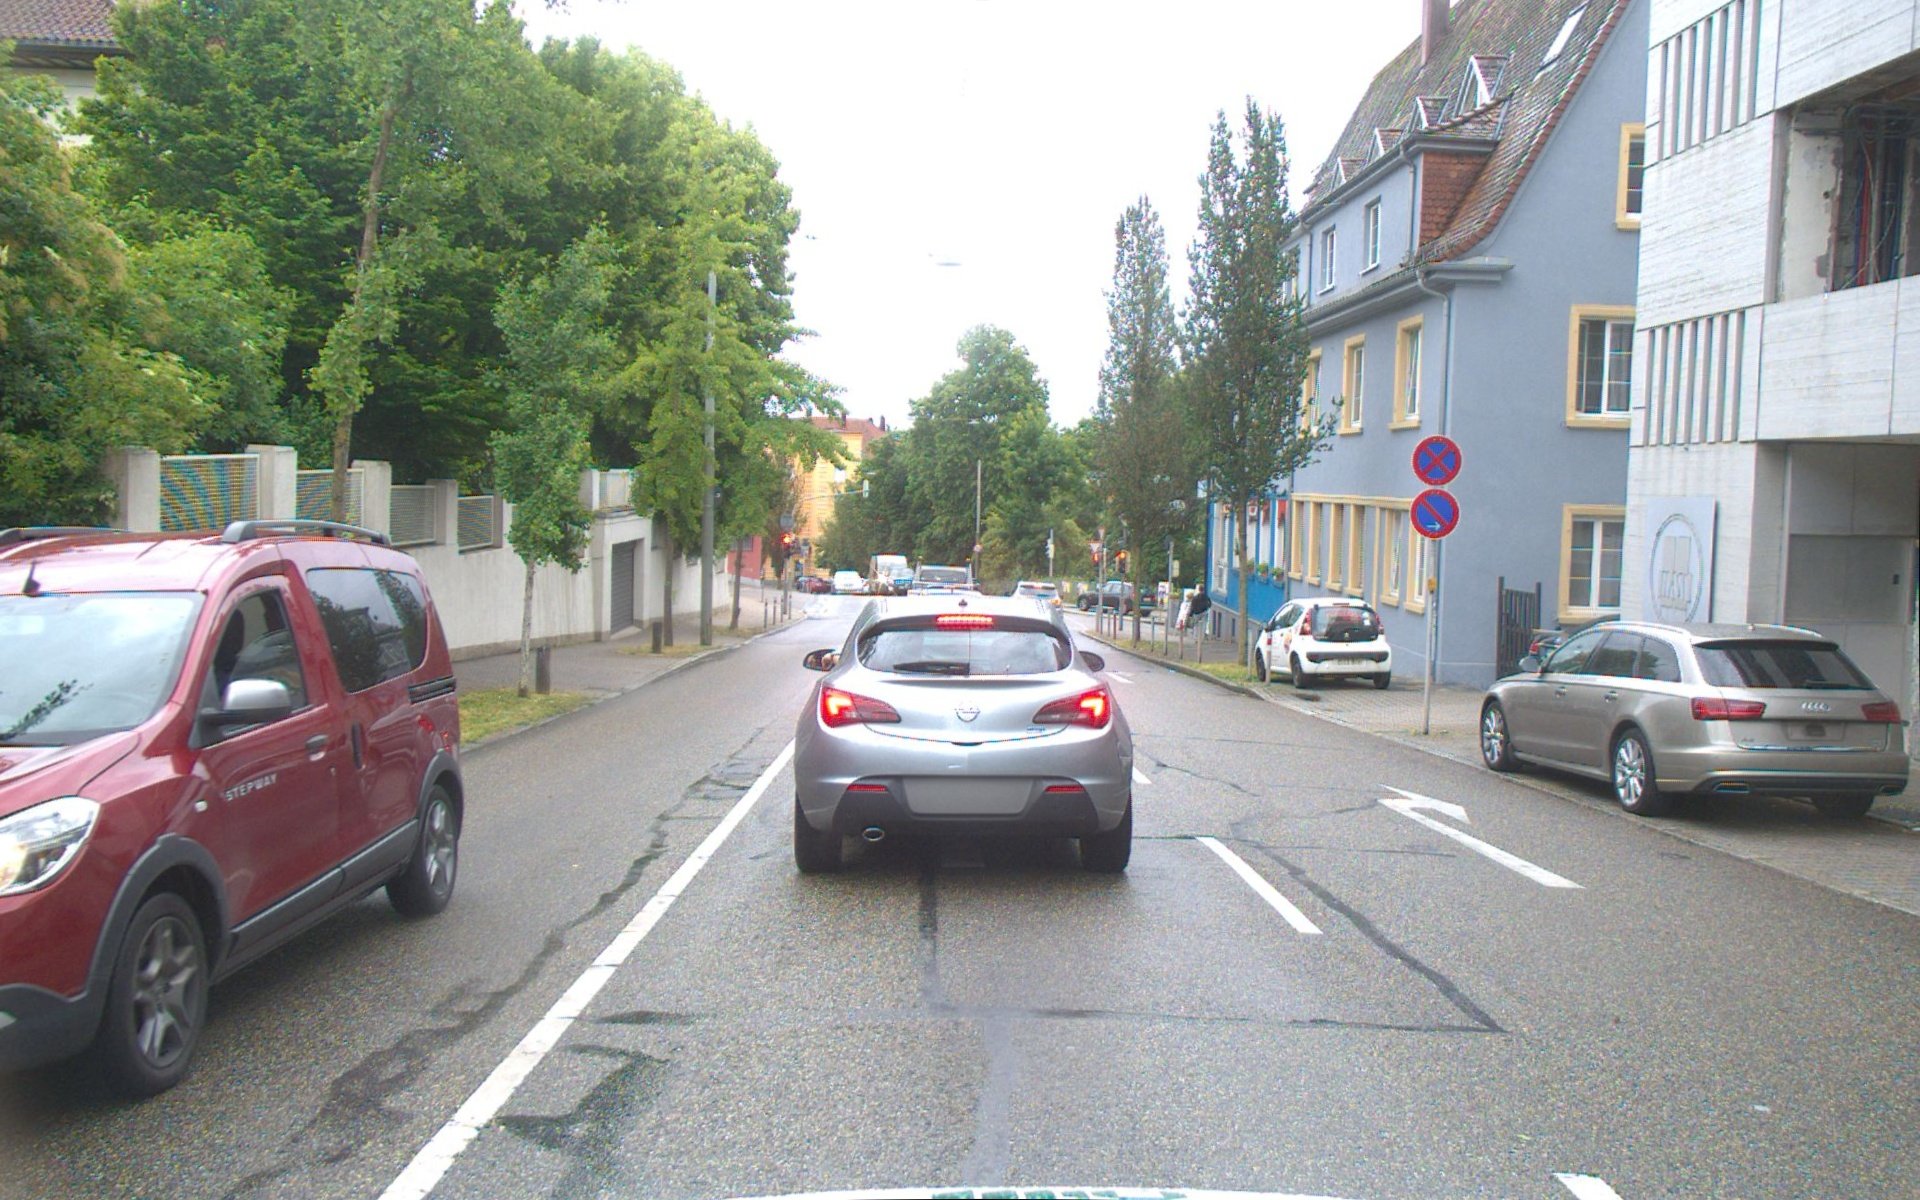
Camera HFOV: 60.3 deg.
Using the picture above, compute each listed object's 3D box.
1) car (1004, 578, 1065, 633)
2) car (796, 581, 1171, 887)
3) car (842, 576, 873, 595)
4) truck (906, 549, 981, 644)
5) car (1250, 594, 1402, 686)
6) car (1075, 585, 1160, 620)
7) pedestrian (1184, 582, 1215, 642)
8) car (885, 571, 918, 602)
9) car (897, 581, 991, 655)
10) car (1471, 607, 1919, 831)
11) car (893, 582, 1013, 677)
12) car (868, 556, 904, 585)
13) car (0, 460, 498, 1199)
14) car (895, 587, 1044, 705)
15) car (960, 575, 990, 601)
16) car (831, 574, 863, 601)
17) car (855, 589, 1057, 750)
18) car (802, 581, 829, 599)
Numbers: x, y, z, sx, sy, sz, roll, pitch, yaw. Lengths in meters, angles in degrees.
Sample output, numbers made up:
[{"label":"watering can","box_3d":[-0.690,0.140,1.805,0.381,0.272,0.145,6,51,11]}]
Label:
[{"label":"car","box_3d":[2.443,0.158,55.162,1.688,1.744,3.878,0,0,-3]},{"label":"car","box_3d":[0.033,0.640,9.970,1.800,1.459,3.878,1,0,-3]},{"label":"car","box_3d":[-8.631,-1.185,139.218,1.696,1.570,3.859,0,0,-18]},{"label":"truck","box_3d":[-0.522,-0.126,47.087,1.922,2.471,4.934,2,1,-2]},{"label":"car","box_3d":[6.283,0.644,28.788,1.688,1.473,3.878,0,0,-2]},{"label":"car","box_3d":[7.605,0.106,80.025,3.803,1.666,1.721,1,0,37]},{"label":"pedestrian","box_3d":[7.168,0.353,49.577,0.767,1.759,0.650,2,0,-1]},{"label":"car","box_3d":[-3.266,-0.758,92.564,1.833,1.666,3.878,0,0,-2]},{"label":"car","box_3d":[-0.403,0.357,37.089,1.922,1.473,4.304,2,1,-2]},{"label":"car","box_3d":[6.049,0.852,13.903,1.923,1.473,4.524,1,1,-3]},{"label":"car","box_3d":[-0.185,0.468,29.431,1.922,1.473,4.304,2,1,-2]},{"label":"car","box_3d":[-4.499,-1.762,100.182,1.691,1.666,3.871,0,0,-9]},{"label":"car","box_3d":[-3.216,0.591,6.289,1.711,1.860,4.458,-1,0,-1]},{"label":"car","box_3d":[0.058,0.595,24.055,1.922,1.473,4.304,2,1,-2]},{"label":"car","box_3d":[0.987,-0.791,108.922,1.689,1.666,3.876,0,0,-4]},{"label":"car","box_3d":[-6.297,-0.706,92.498,1.688,1.485,3.878,0,0,-2]},{"label":"car","box_3d":[-0.106,0.667,18.331,1.922,1.473,4.304,2,1,-2]},{"label":"car","box_3d":[-13.793,-0.970,157.905,1.696,1.666,3.859,0,0,-18]}]
